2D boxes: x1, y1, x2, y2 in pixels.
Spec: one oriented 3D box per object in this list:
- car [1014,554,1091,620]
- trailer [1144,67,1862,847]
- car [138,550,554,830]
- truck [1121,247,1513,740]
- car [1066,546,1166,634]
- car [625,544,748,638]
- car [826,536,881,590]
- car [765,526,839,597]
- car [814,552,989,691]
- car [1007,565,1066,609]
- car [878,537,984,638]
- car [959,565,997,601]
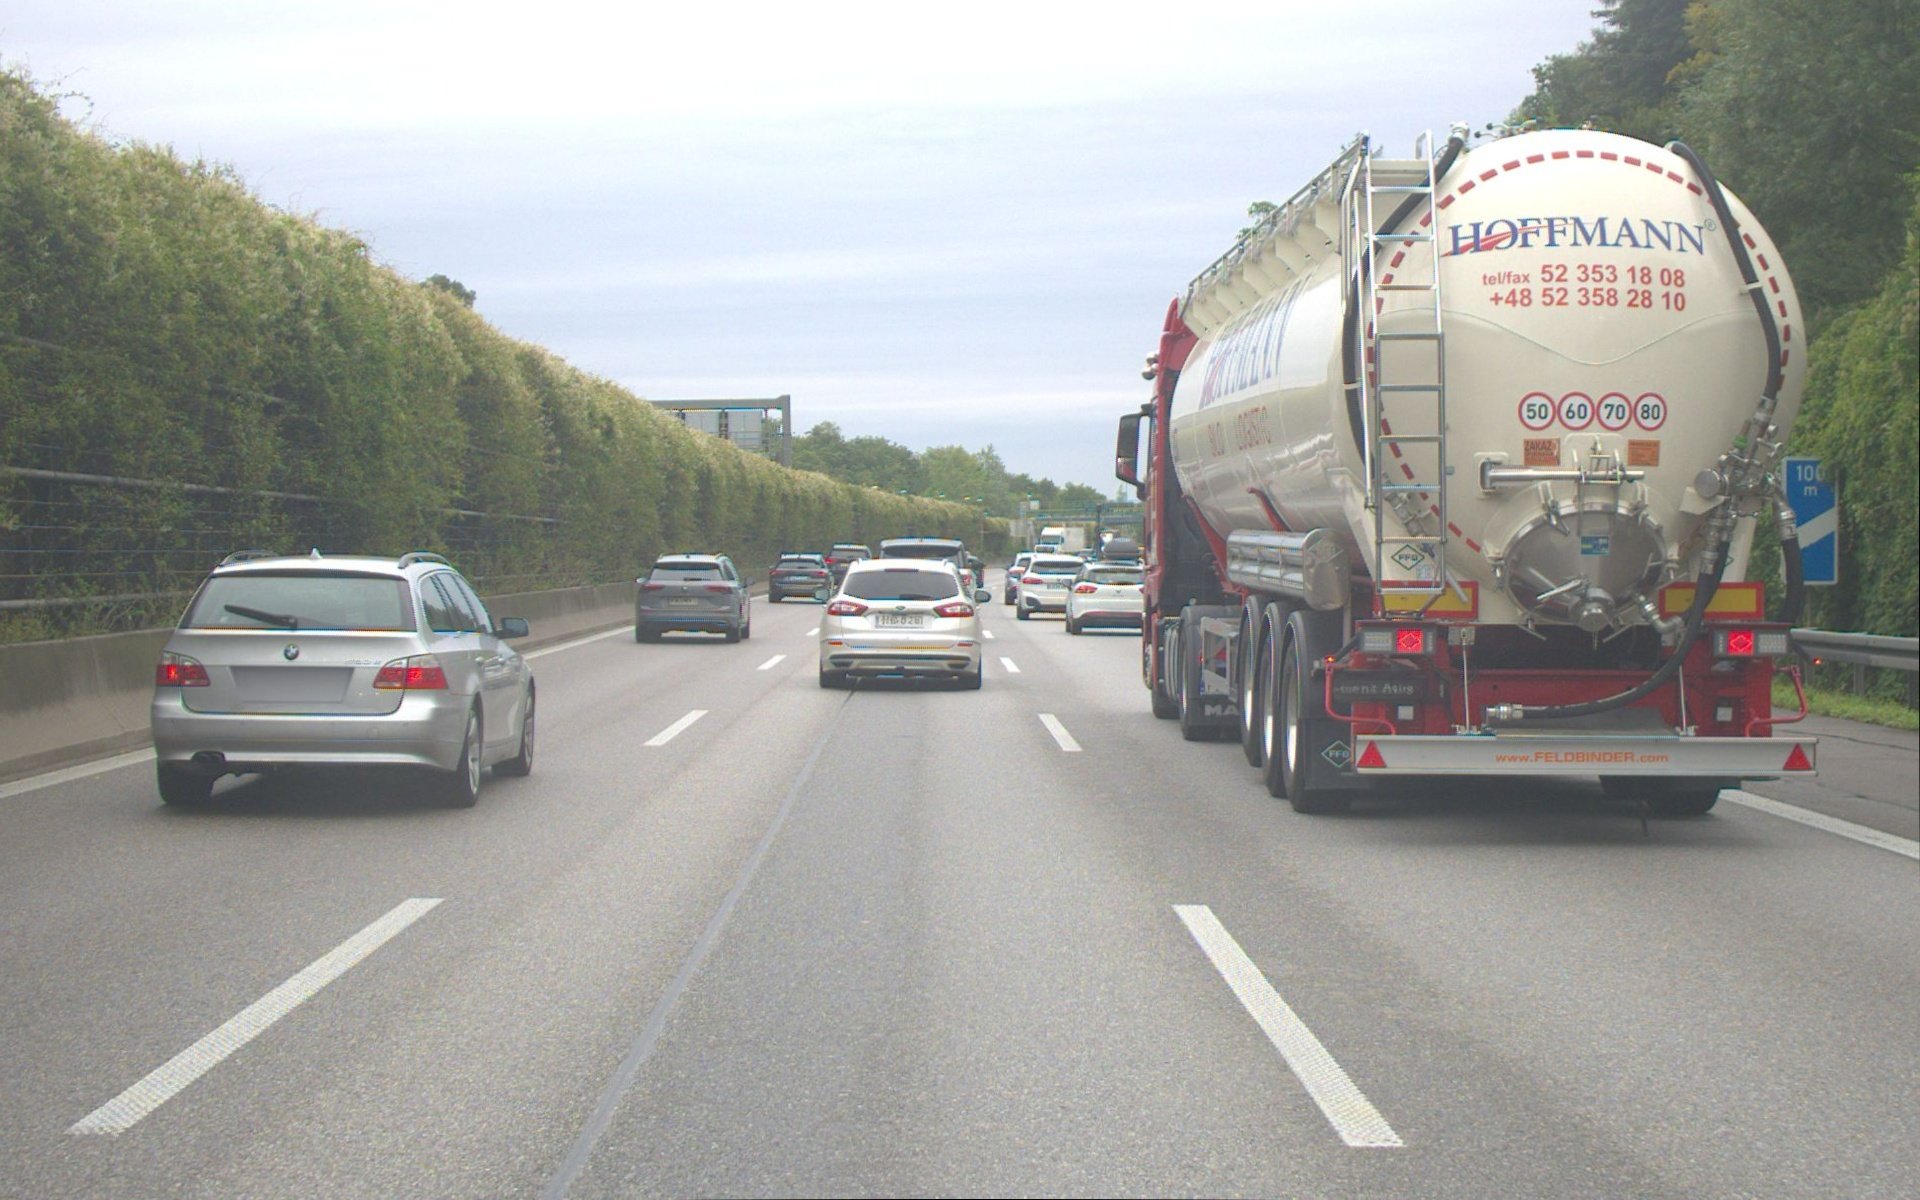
[{"bbox_3d":[2.199,-0.320,82.536,1.689,1.501,3.871,1,0,-1],"label":"car"},{"bbox_3d":[3.114,-0.776,24.057,2.668,3.925,13.131,1,0,-1],"label":"trailer"},{"bbox_3d":[-3.674,0.459,21.421,1.720,1.464,5.030,1,1,-1],"label":"car"},{"bbox_3d":[3.012,-0.876,30.822,2.695,3.899,6.556,1,0,-1],"label":"truck"},{"bbox_3d":[3.006,-0.221,67.176,1.816,1.620,5.030,1,1,1],"label":"car"},{"bbox_3d":[-4.581,-0.177,58.184,1.720,1.507,5.030,1,1,-1],"label":"car"},{"bbox_3d":[-4.077,-1.439,131.947,1.993,2.007,4.000,1,1,0],"label":"car"},{"bbox_3d":[-4.626,-1.140,101.189,1.993,2.007,3.841,1,1,0],"label":"car"},{"bbox_3d":[-0.670,0.203,40.136,1.891,1.499,5.030,1,1,-1],"label":"car"},{"bbox_3d":[2.364,-0.417,107.225,1.689,1.326,3.871,1,0,-1],"label":"car"},{"bbox_3d":[-0.524,-0.252,60.518,1.689,1.501,3.872,5,2,-1],"label":"car"},{"bbox_3d":[0.818,-0.757,154.485,1.689,1.534,3.871,1,1,1],"label":"car"}]
